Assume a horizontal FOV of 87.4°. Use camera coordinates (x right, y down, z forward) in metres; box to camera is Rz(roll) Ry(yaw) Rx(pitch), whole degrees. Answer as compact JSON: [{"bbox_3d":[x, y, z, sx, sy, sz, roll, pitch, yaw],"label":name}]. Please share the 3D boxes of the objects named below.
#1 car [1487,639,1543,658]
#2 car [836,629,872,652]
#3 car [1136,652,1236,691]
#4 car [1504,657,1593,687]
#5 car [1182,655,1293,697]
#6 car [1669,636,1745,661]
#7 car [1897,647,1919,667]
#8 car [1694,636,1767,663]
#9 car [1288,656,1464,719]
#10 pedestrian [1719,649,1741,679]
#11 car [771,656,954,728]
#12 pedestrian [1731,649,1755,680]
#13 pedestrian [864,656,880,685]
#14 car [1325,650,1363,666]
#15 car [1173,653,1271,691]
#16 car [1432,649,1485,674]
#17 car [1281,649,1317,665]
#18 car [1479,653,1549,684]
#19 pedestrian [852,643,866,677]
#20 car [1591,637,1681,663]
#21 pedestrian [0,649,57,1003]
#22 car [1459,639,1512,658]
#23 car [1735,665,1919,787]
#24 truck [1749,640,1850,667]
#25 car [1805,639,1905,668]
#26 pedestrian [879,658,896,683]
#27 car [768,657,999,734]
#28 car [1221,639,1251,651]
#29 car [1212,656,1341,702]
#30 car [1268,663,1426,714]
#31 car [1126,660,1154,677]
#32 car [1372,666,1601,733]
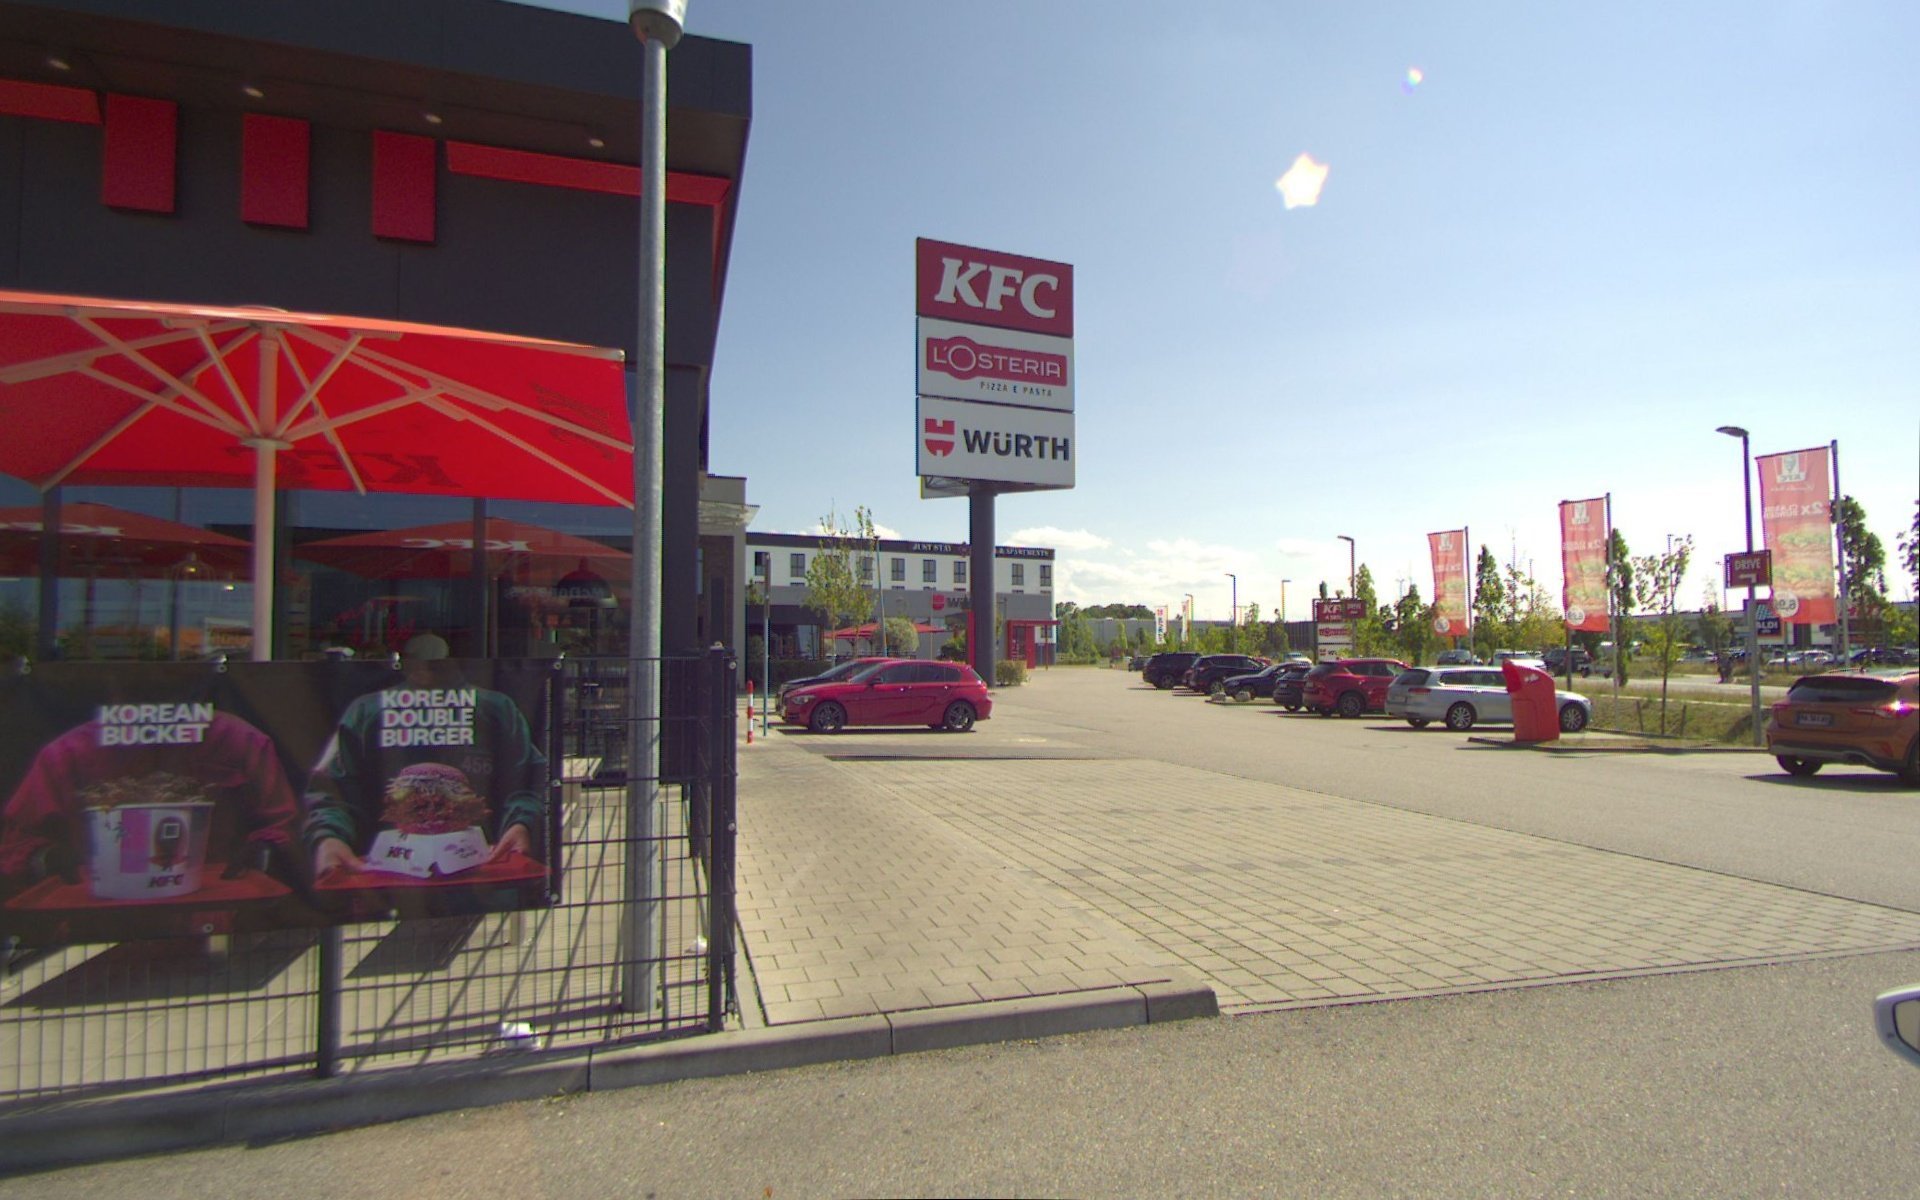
[{"bbox_3d":[58.457,5.093,105.842,4.982,2.040,1.998,0,-2,-8],"label":"car"},{"bbox_3d":[-6.264,2.401,59.252,1.620,1.325,3.832,0,-3,-14],"label":"car"},{"bbox_3d":[10.985,3.478,49.039,4.499,1.783,1.896,1,-3,0],"label":"car"},{"bbox_3d":[38.376,4.665,65.698,1.955,1.753,5.212,0,-3,-13],"label":"car"},{"bbox_3d":[11.907,3.251,43.256,4.250,1.725,1.895,1,-3,-5],"label":"car"},{"bbox_3d":[62.200,4.057,83.675,5.083,2.040,1.998,0,-2,-8],"label":"car"},{"bbox_3d":[77.673,4.541,80.482,1.642,1.572,3.459,1,-3,-22],"label":"car"},{"bbox_3d":[60.258,3.865,78.595,4.007,2.040,2.002,0,-2,6],"label":"car"},{"bbox_3d":[11.639,2.438,28.262,4.151,1.659,1.950,1,-3,-5],"label":"car"},{"bbox_3d":[40.467,3.374,52.778,0.613,1.576,0.667,0,-2,9],"label":"pedestrian"},{"bbox_3d":[-2.215,2.040,22.642,3.847,1.526,1.734,2,-3,-18],"label":"car"},{"bbox_3d":[40.410,3.319,51.849,0.678,1.620,0.757,0,-2,9],"label":"pedestrian"},{"bbox_3d":[-4.312,3.448,49.125,0.646,1.384,0.476,2,-3,-42],"label":"pedestrian"},{"bbox_3d":[36.944,5.542,96.693,1.960,1.523,4.659,0,-2,2],"label":"car"},{"bbox_3d":[12.014,3.288,46.284,4.002,1.630,1.896,1,-2,-2],"label":"car"},{"bbox_3d":[36.555,4.488,73.766,1.841,1.686,4.606,0,-2,3],"label":"car"},{"bbox_3d":[33.731,5.667,100.157,1.961,1.546,4.658,0,-2,-1],"label":"car"},{"bbox_3d":[35.277,4.345,64.066,1.961,1.870,4.407,0,-2,-1],"label":"car"},{"bbox_3d":[-4.613,2.721,45.794,0.518,1.525,0.567,1,-2,-20],"label":"pedestrian"},{"bbox_3d":[60.004,4.440,89.178,6.190,2.266,2.816,0,-2,-4],"label":"car"},{"bbox_3d":[-3.899,0.832,3.786,0.618,1.290,0.608,1,-3,-33],"label":"pedestrian"},{"bbox_3d":[58.235,5.402,111.401,4.982,2.040,1.998,0,-2,-8],"label":"car"},{"bbox_3d":[13.240,1.666,13.658,4.274,1.488,1.831,2,-3,-9],"label":"car"},{"bbox_3d":[59.372,3.770,71.067,5.324,1.888,2.001,0,-2,2],"label":"truck"},{"bbox_3d":[58.721,3.502,65.968,4.637,1.870,2.001,0,-2,3],"label":"car"},{"bbox_3d":[-3.560,3.479,49.394,0.646,1.200,0.476,2,-3,-42],"label":"pedestrian"},{"bbox_3d":[-1.548,1.889,20.249,4.334,1.431,1.733,2,-3,-20],"label":"car"},{"bbox_3d":[38.056,6.163,138.377,3.607,1.618,1.709,1,-2,-17],"label":"car"},{"bbox_3d":[12.056,2.994,38.425,4.362,1.659,1.897,1,-3,2],"label":"car"},{"bbox_3d":[11.685,2.664,30.459,4.128,1.428,1.772,1,-3,-7],"label":"car"},{"bbox_3d":[16.286,6.190,90.916,1.671,1.424,3.896,1,-3,-3],"label":"car"},{"bbox_3d":[12.220,2.300,23.451,4.514,1.431,1.740,1,-3,-5],"label":"car"}]
